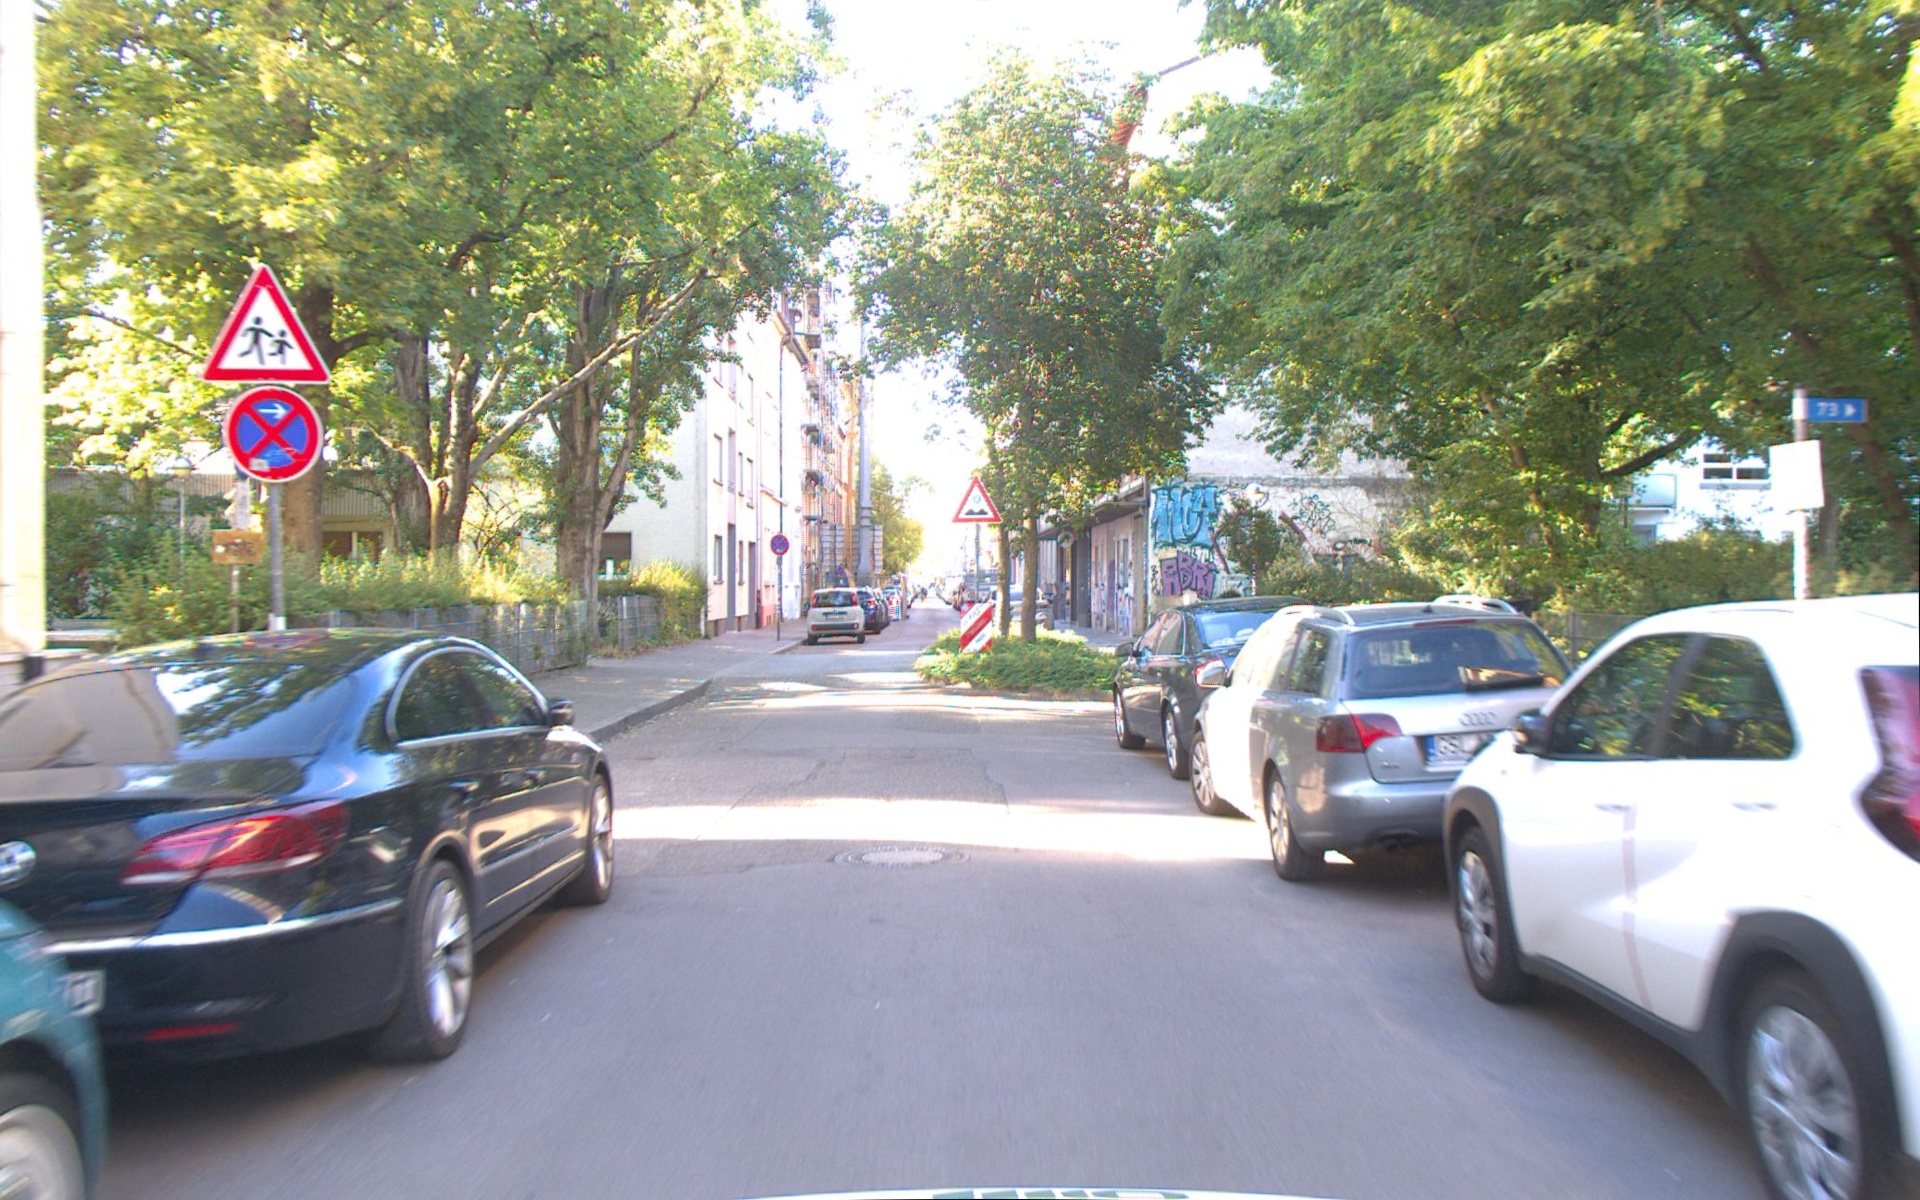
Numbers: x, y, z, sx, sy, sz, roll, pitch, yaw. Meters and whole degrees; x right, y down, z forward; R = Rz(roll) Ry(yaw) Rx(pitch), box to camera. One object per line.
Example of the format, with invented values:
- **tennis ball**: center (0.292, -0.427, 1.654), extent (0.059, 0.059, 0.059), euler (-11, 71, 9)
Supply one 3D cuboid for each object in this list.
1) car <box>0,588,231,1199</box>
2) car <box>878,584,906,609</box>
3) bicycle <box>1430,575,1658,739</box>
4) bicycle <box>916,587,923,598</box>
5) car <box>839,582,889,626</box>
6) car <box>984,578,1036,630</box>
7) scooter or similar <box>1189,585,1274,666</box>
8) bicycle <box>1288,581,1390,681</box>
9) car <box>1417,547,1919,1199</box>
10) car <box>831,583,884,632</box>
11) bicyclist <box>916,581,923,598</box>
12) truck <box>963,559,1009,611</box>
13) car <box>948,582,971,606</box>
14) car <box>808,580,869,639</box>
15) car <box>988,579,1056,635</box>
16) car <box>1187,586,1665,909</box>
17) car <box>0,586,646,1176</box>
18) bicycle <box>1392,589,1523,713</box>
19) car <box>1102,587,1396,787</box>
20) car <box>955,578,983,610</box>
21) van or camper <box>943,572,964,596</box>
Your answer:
- **car**: center (-2.632, 0.769, 2.243), extent (1.560, 1.476, 3.487), euler (-3, 0, 2)
- **car**: center (-4.155, -0.247, 100.586), extent (1.641, 1.470, 3.867), euler (-1, 0, -3)
- **bicycle**: center (5.246, 0.468, 15.090), extent (1.264, 1.324, 2.327), euler (-2, 1, 2)
- **bicycle**: center (-4.360, -0.800, 176.901), extent (0.710, 1.207, 2.042), euler (1, 1, -1)
- **car**: center (-3.522, 0.127, 61.440), extent (1.641, 1.538, 4.413), euler (-2, 1, -1)
- **car**: center (1.662, 0.115, 55.662), extent (1.606, 1.685, 3.869), euler (0, 0, 0)
- **scooter or similar**: center (4.468, 0.420, 27.285), extent (0.539, 1.284, 1.457), euler (-2, 0, -32)
- **bicycle**: center (5.286, 0.396, 23.231), extent (0.829, 1.290, 2.692), euler (-1, 1, 1)
- **car**: center (2.791, 0.671, 5.261), extent (1.561, 1.613, 3.763), euler (0, 0, -1)
- **car**: center (-3.477, 0.228, 56.438), extent (1.695, 1.566, 4.375), euler (-2, 0, -3)
- **bicyclist**: center (-4.351, -1.168, 176.927), extent (0.715, 1.792, 0.835), euler (0, 1, -1)
- **truck**: center (1.351, -0.790, 88.555), extent (2.146, 2.652, 5.232), euler (-1, 1, -2)
- **car**: center (-0.077, -0.553, 149.442), extent (1.953, 2.049, 3.998), euler (-1, 1, -2)
- **car**: center (-3.468, 0.253, 47.502), extent (1.641, 1.566, 3.867), euler (-1, 0, -3)
- **car**: center (1.812, 0.180, 49.336), extent (1.686, 1.589, 4.396), euler (0, 0, -2)
- **car**: center (2.525, 0.682, 10.061), extent (1.625, 1.520, 4.353), euler (0, 0, -1)
- **car**: center (-2.509, 0.733, 6.450), extent (1.743, 1.468, 4.391), euler (-3, 0, -1)
- **bicycle**: center (5.296, 0.509, 17.735), extent (0.829, 1.221, 1.982), euler (-1, 1, 1)
- **car**: center (2.464, 0.667, 15.200), extent (1.687, 1.520, 4.411), euler (-1, 1, -3)
- **car**: center (0.603, -0.423, 111.538), extent (1.641, 2.066, 3.867), euler (-1, 0, -3)
- **van or camper**: center (-0.710, -1.715, 178.051), extent (1.955, 2.552, 4.198), euler (-1, 0, -5)
